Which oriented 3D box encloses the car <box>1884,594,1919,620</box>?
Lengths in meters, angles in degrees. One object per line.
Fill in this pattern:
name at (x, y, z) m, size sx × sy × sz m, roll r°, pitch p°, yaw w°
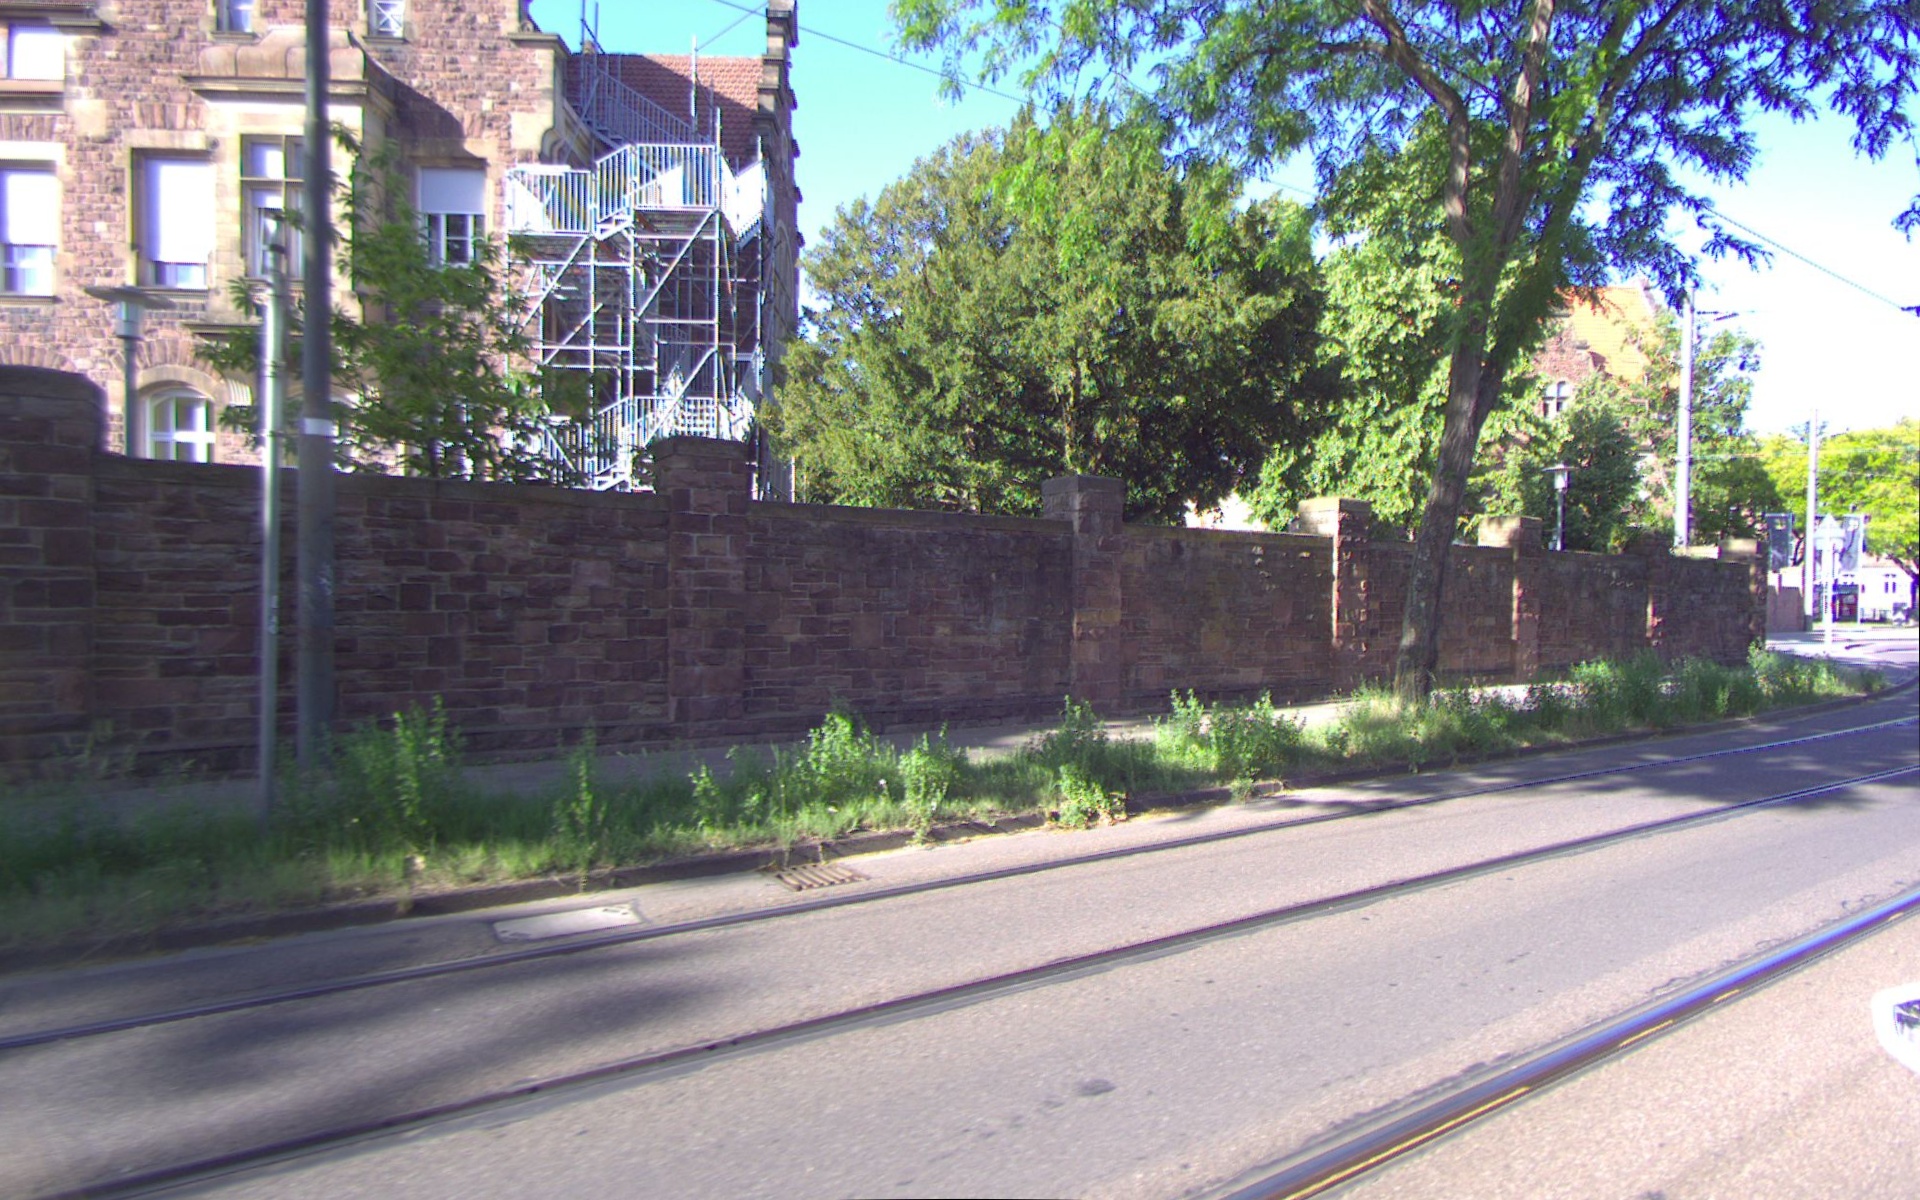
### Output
car at (69.955, 0.503, 72.919) m, size 1.980 × 1.814 × 3.960 m, roll 0°, pitch 0°, yaw -35°
